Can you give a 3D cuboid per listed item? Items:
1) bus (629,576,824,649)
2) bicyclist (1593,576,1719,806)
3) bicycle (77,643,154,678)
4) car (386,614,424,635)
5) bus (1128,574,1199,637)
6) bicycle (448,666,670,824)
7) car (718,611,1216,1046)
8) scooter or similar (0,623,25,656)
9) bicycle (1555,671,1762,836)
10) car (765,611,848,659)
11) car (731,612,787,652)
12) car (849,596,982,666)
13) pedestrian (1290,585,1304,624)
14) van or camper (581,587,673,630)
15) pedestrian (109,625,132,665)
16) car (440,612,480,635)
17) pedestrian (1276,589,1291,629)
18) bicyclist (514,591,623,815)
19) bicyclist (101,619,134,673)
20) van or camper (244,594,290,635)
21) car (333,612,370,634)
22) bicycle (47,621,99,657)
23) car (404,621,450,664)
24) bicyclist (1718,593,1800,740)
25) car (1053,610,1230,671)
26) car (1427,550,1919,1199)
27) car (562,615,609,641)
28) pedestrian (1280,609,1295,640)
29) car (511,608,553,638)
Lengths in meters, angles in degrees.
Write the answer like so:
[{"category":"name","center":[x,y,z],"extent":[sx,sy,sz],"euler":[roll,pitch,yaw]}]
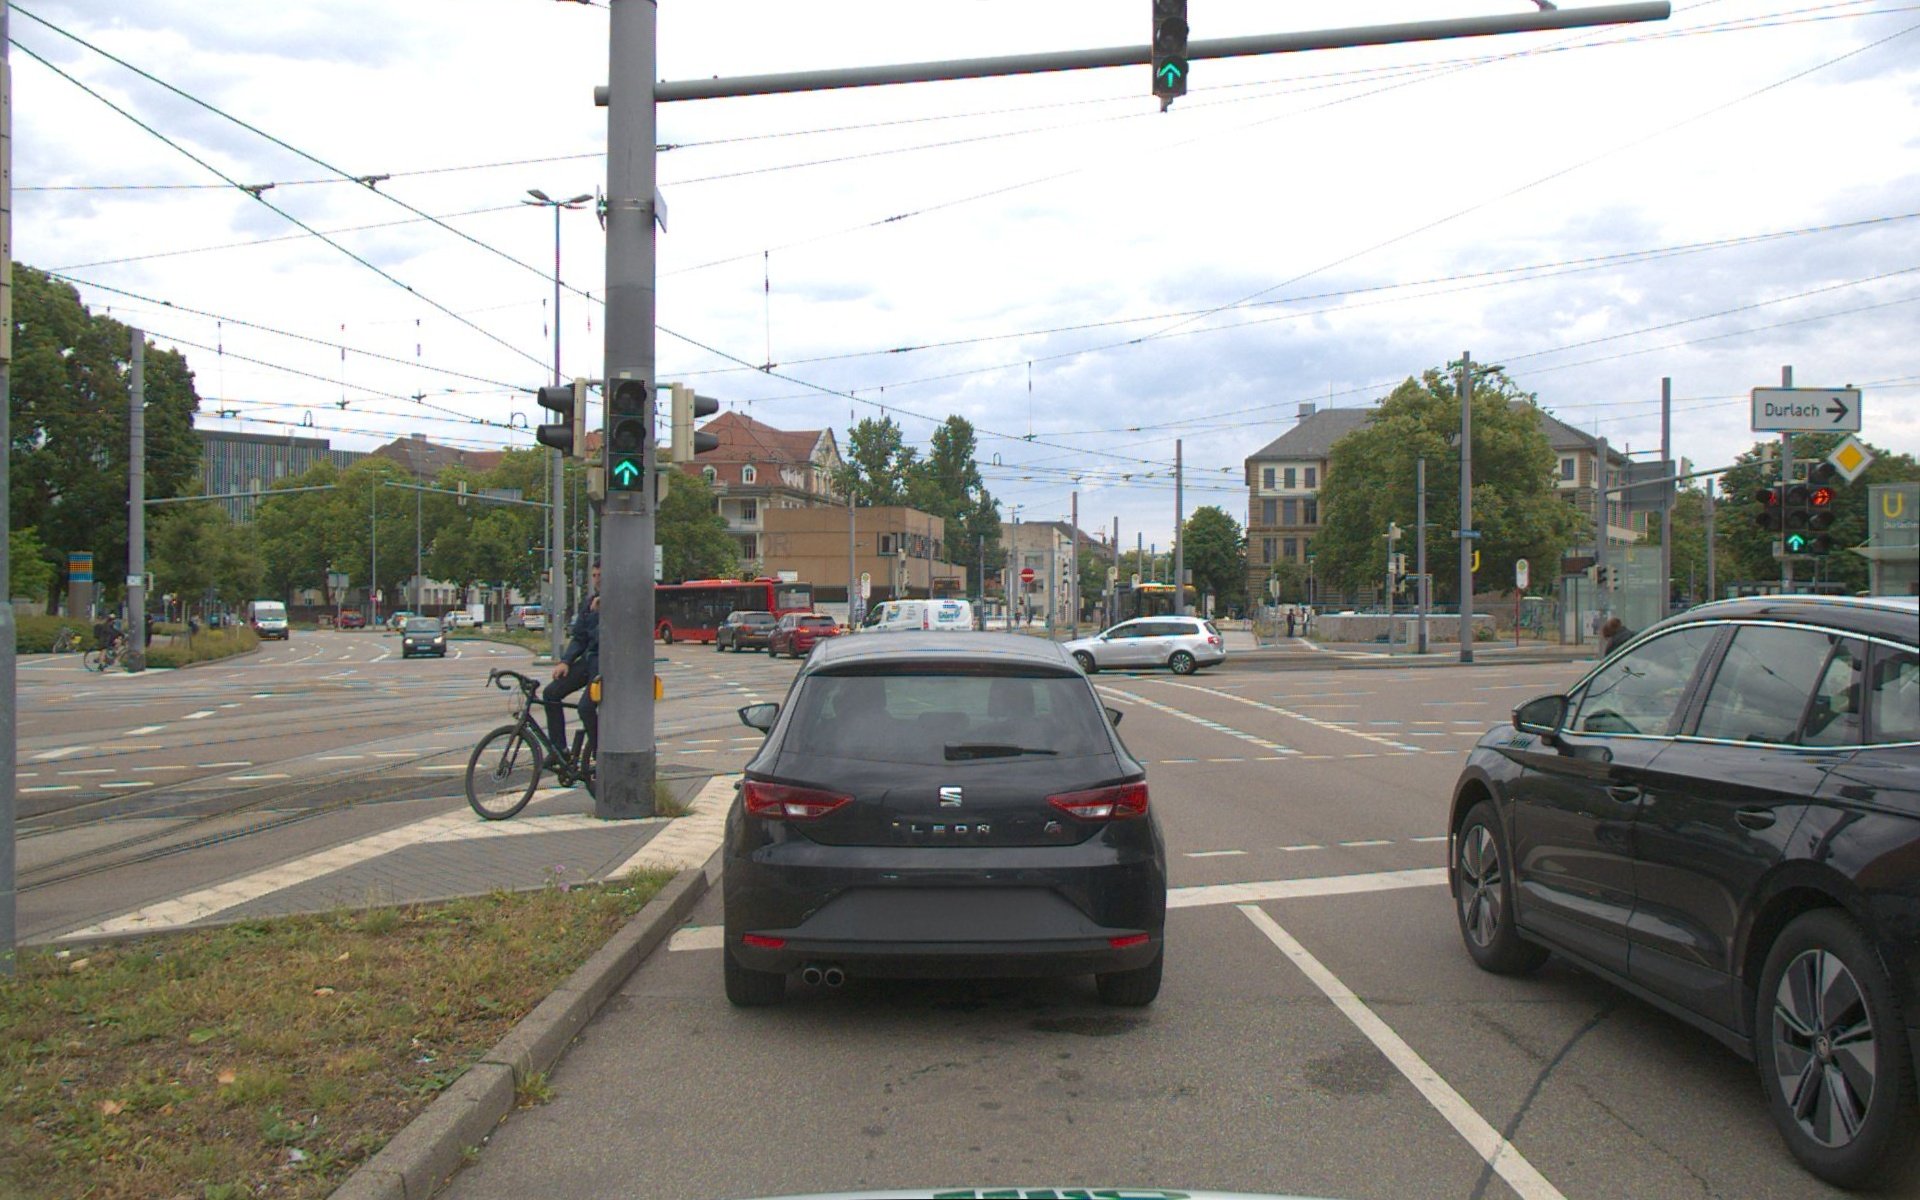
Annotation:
[{"category":"bus","center":[-11.647,0.646,81.100],"extent":[3.044,3.355,12.182],"euler":[1,-1,-43]},{"category":"bicyclist","center":[5.371,0.681,12.799],"extent":[0.603,1.720,0.805],"euler":[0,0,-3]},{"category":"bicycle","center":[-26.918,1.923,52.741],"extent":[2.080,1.046,0.791],"euler":[-1,0,-18]},{"category":"car","center":[-44.128,1.937,131.424],"extent":[1.974,1.669,3.956],"euler":[0,-1,-32]},{"category":"bus","center":[11.621,0.331,93.436],"extent":[2.952,3.325,13.053],"euler":[0,0,12]},{"category":"bicycle","center":[-3.055,1.078,12.687],"extent":[1.599,1.089,0.520],"euler":[0,-1,-41]},{"category":"car","center":[-0.004,0.803,7.706],"extent":[1.710,1.490,3.999],"euler":[1,0,-1]},{"category":"scooter or similar","center":[-38.604,1.592,66.470],"extent":[1.753,1.325,0.623],"euler":[0,0,-33]},{"category":"bicycle","center":[5.357,1.137,12.841],"extent":[0.612,1.073,2.125],"euler":[0,0,-3]},{"category":"car","center":[-5.507,1.226,58.945],"extent":[1.832,1.628,4.176],"euler":[0,0,-22]},{"category":"car","center":[-8.404,1.304,68.987],"extent":[1.959,1.593,4.192],"euler":[0,0,-12]},{"category":"car","center":[-1.439,0.938,51.334],"extent":[1.973,2.054,4.978],"euler":[0,0,-31]},{"category":"pedestrian","center":[37.227,0.500,182.712],"extent":[1.280,4.328,1.346],"euler":[0,-1,-1]},{"category":"van or camper","center":[-27.590,0.702,137.181],"extent":[2.828,3.390,7.102],"euler":[-3,-2,44]},{"category":"pedestrian","center":[-37.148,1.991,73.196],"extent":[0.734,1.764,0.683],"euler":[-1,0,-15]},{"category":"car","center":[-39.111,1.838,129.331],"extent":[1.977,1.780,3.951],"euler":[0,-1,-35]},{"category":"pedestrian","center":[35.706,0.976,182.626],"extent":[1.358,4.328,1.346],"euler":[0,-1,-1]},{"category":"bicyclist","center":[-3.009,0.766,12.723],"extent":[0.649,1.668,0.510],"euler":[0,-1,-40]},{"category":"bicyclist","center":[-26.872,1.453,52.764],"extent":[0.800,1.685,0.789],"euler":[-1,0,-19]},{"category":"van or camper","center":[-45.285,0.970,107.976],"extent":[2.254,2.572,5.520],"euler":[-1,0,-28]},{"category":"car","center":[-52.773,1.988,143.369],"extent":[1.979,1.803,3.946],"euler":[0,-1,-38]},{"category":"bicycle","center":[-37.122,1.613,69.241],"extent":[0.829,1.474,2.255],"euler":[0,0,4]},{"category":"car","center":[-20.847,1.633,64.663],"extent":[1.594,1.542,3.644],"euler":[-1,0,-19]},{"category":"bicyclist","center":[9.900,0.807,20.491],"extent":[0.724,1.782,0.581],"euler":[-1,0,-28]},{"category":"car","center":[4.883,1.091,44.262],"extent":[4.515,1.508,1.727],"euler":[-1,0,13]},{"category":"car","center":[3.265,0.721,5.782],"extent":[1.865,1.687,4.513],"euler":[0,0,-2]},{"category":"car","center":[-22.865,1.705,100.866],"extent":[1.969,1.566,3.967],"euler":[0,-1,-25]},{"category":"pedestrian","center":[20.023,1.487,101.191],"extent":[0.806,1.886,1.022],"euler":[-1,-1,15]},{"category":"car","center":[-29.418,1.572,113.543],"extent":[1.971,2.049,3.963],"euler":[0,-1,-28]}]
